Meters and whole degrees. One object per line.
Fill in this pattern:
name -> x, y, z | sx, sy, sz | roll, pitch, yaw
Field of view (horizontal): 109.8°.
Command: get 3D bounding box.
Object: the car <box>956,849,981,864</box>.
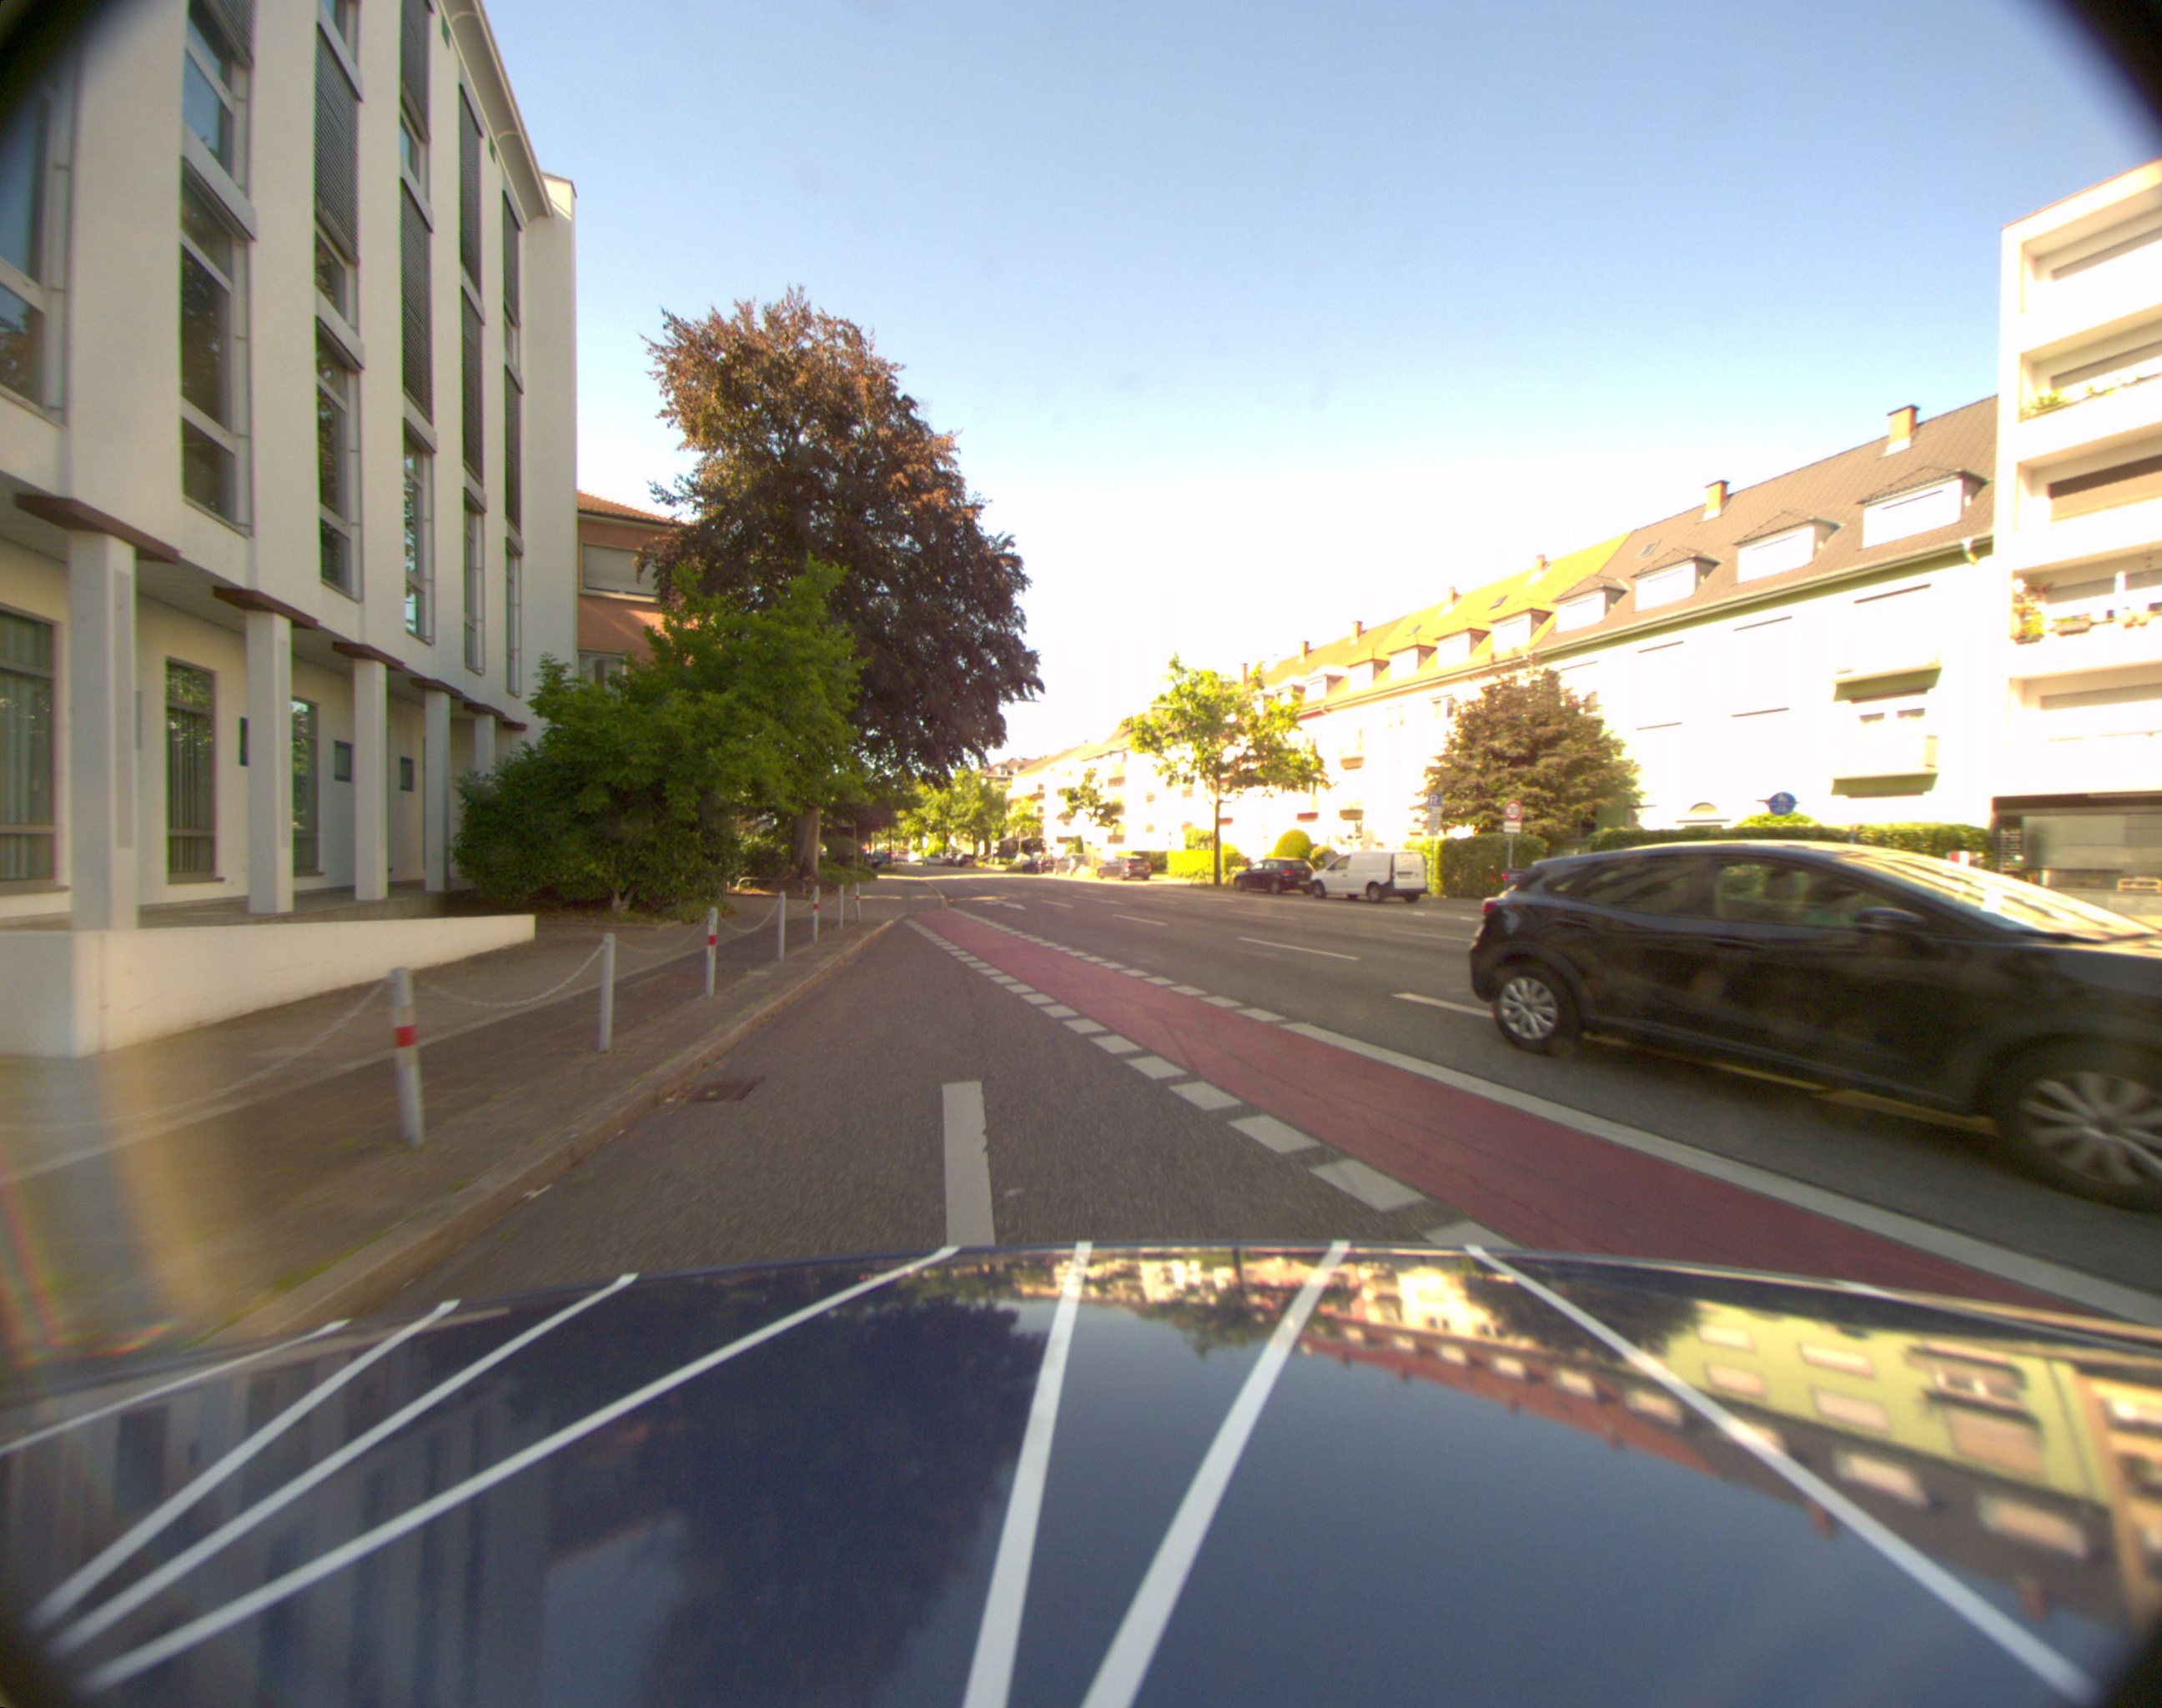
car -> -12.233, 0.255, 82.553 | 1.807, 1.552, 3.916 | -3, 1, -22

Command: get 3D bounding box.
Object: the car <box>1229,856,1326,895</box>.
car -> 8.064, 0.821, 31.562 | 1.807, 1.421, 4.043 | -3, 1, -22

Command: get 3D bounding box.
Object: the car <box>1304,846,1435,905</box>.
car -> 10.057, 0.701, 26.814 | 1.807, 1.847, 4.158 | -3, 1, -26

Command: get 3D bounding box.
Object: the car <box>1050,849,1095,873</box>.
car -> -0.647, 0.493, 53.763 | 1.807, 1.552, 4.159 | -3, 1, -22

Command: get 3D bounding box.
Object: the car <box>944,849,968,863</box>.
car -> -14.499, 0.234, 88.004 | 1.807, 1.552, 3.916 | -3, 1, -22

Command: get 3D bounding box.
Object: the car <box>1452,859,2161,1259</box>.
car -> 4.417, 0.786, 4.325 | 1.698, 1.483, 4.067 | -1, 0, -22

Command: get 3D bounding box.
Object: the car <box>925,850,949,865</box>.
car -> -16.057, 0.381, 84.527 | 1.807, 1.552, 4.159 | 0, 0, -22

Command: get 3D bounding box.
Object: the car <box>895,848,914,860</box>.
car -> -24.712, 0.058, 106.221 | 1.807, 1.552, 4.159 | -3, 1, -22

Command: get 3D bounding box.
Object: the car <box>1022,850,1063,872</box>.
car -> -3.043, 0.528, 59.156 | 1.807, 1.552, 4.159 | -3, 1, -22

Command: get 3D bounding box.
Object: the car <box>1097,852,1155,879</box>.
car -> 2.618, 0.640, 44.973 | 1.807, 1.449, 3.997 | -3, 1, -22
